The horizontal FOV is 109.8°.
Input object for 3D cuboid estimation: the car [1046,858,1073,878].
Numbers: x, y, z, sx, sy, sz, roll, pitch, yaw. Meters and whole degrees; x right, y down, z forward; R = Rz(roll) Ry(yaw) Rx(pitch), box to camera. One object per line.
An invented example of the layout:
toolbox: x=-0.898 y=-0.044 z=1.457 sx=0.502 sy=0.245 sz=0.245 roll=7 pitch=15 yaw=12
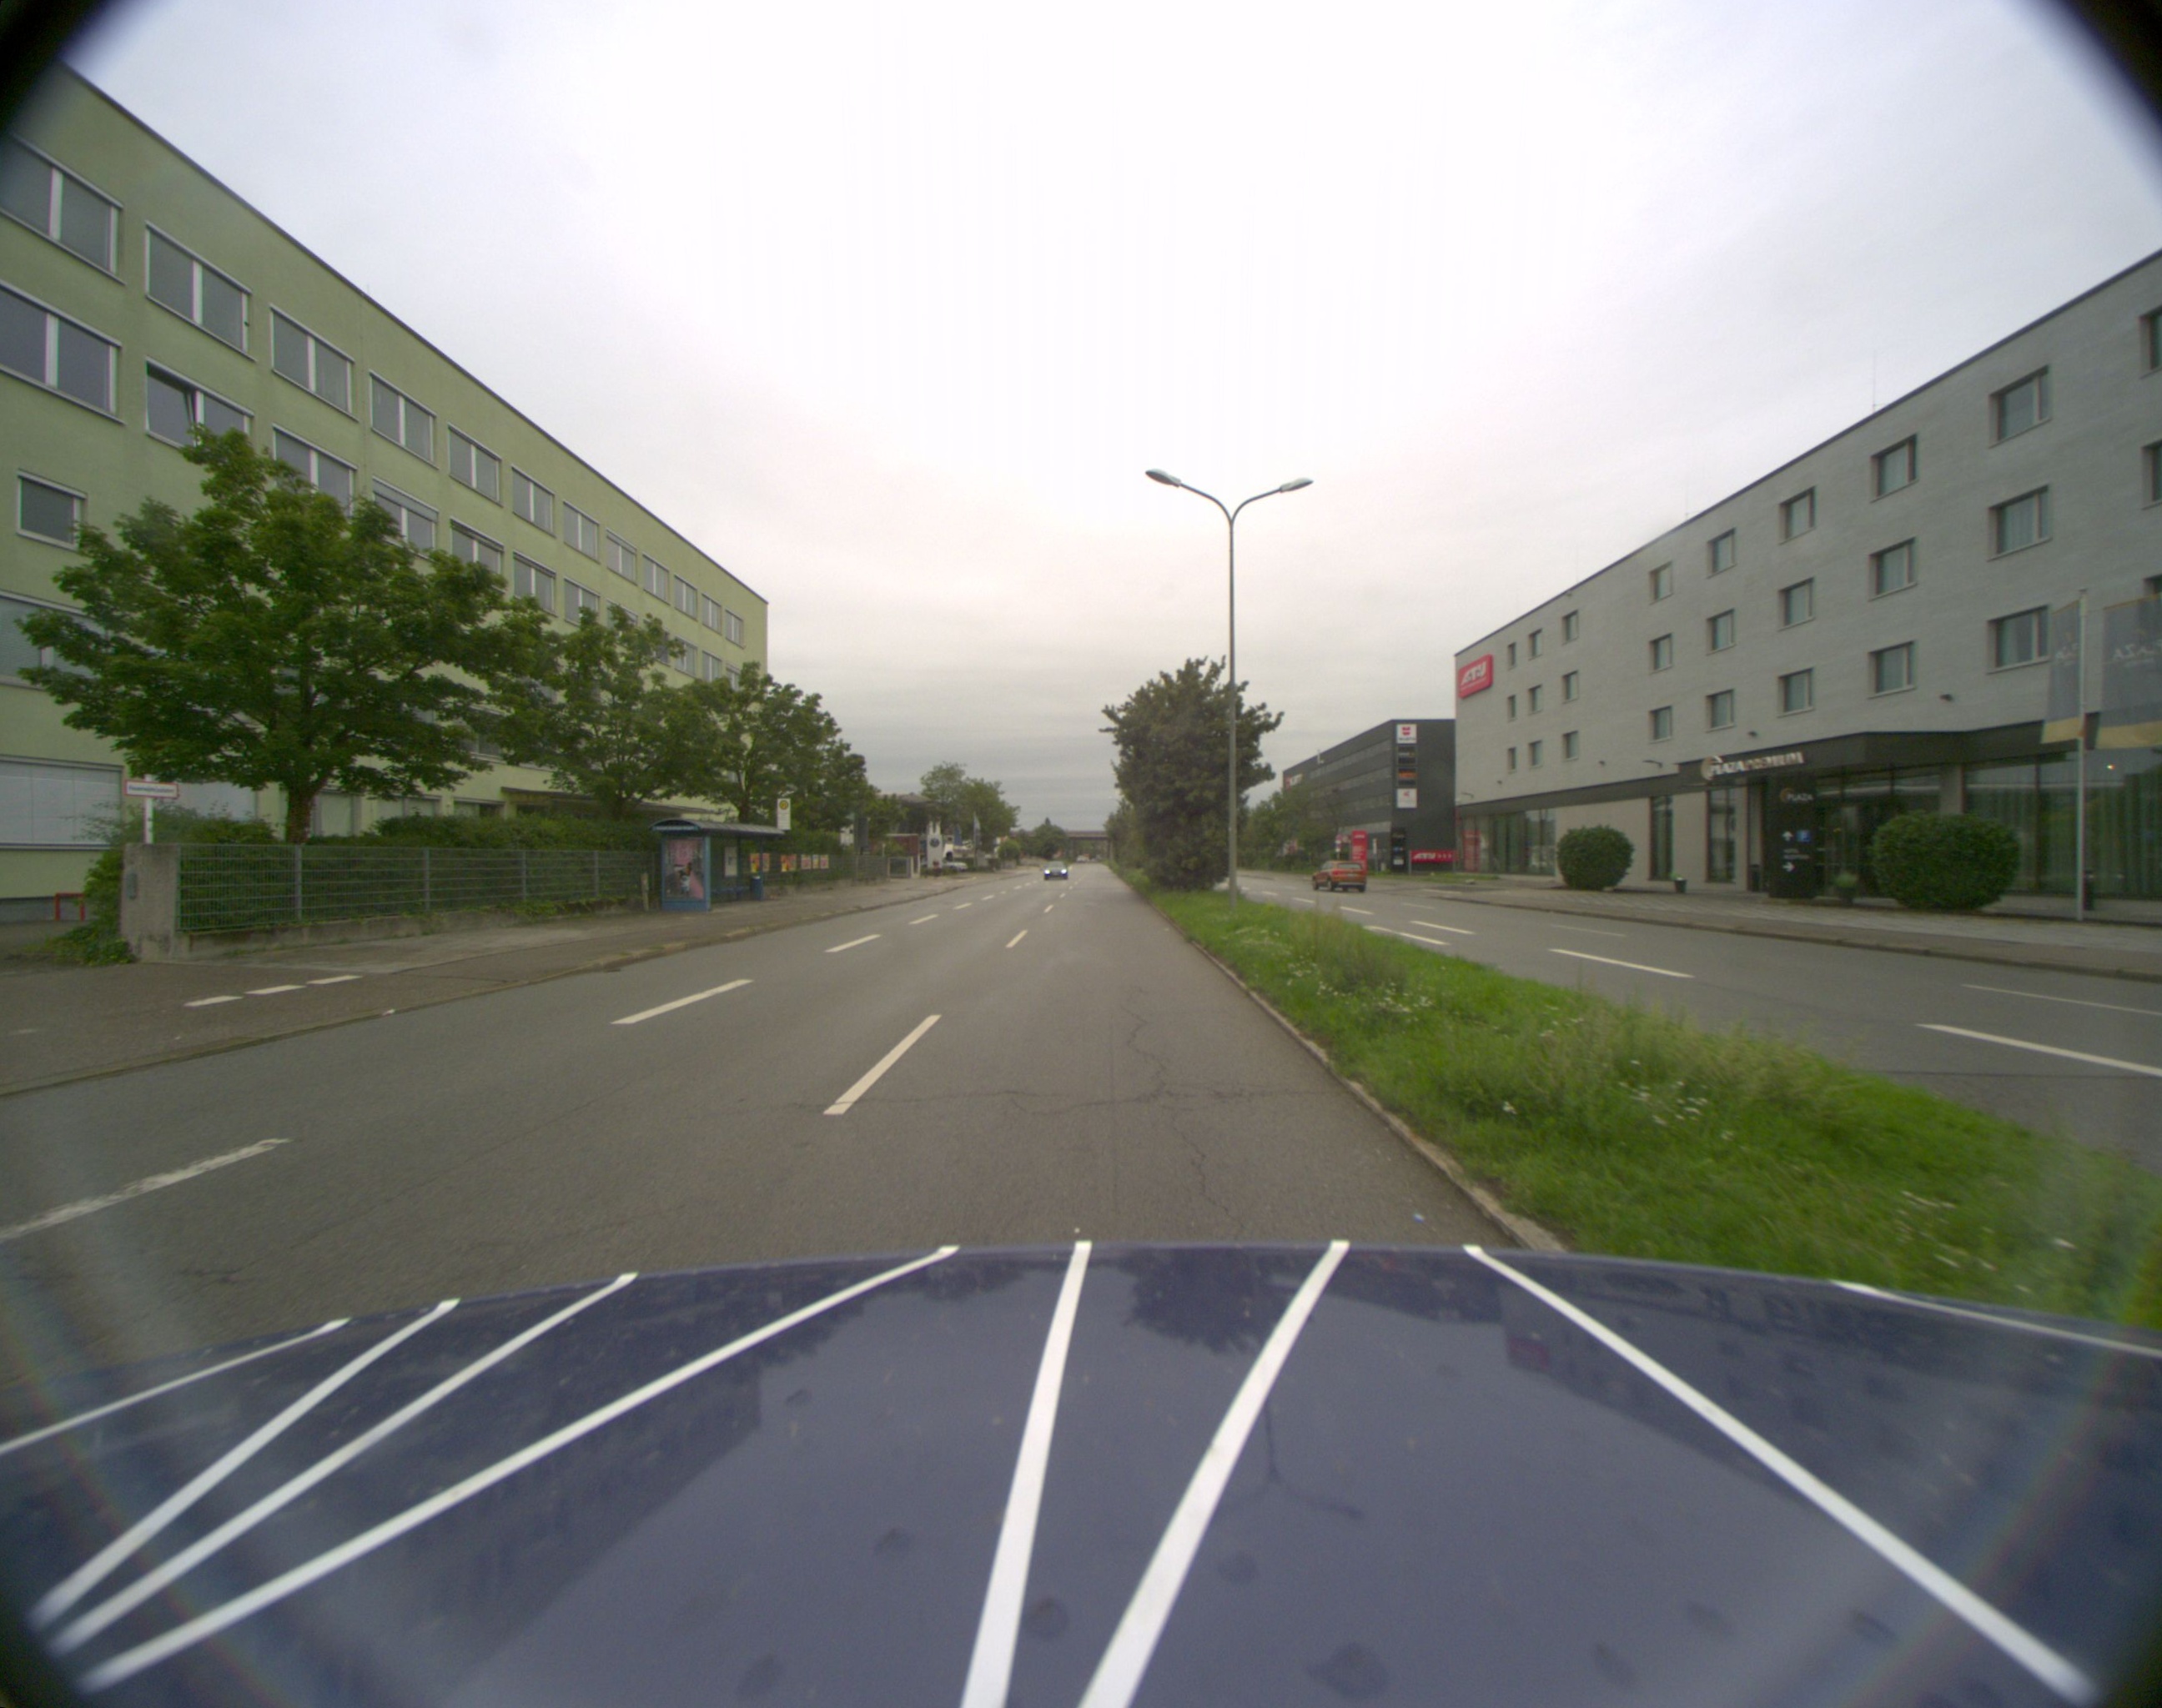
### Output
car: x=-1.740 y=1.134 z=62.469 sx=1.916 sy=1.498 sz=4.440 roll=-2 pitch=0 yaw=2

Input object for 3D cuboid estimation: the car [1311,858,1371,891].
car: x=13.517 y=1.019 z=39.705 sx=1.740 sy=1.539 sz=4.304 roll=1 pitch=0 yaw=1

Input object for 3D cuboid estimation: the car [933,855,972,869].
car: x=-14.616 y=0.942 z=86.278 sx=3.991 sy=1.500 sz=1.804 roll=-1 pitch=0 yaw=23

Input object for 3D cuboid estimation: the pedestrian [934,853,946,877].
pedestrian: x=-10.966 y=0.858 z=59.139 sx=0.683 sy=1.810 sz=0.688 roll=-2 pitch=1 yaw=0

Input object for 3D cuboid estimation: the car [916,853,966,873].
car: x=-14.261 y=0.892 z=77.452 sx=4.651 sy=1.832 sz=1.798 roll=-2 pitch=0 yaw=-21
